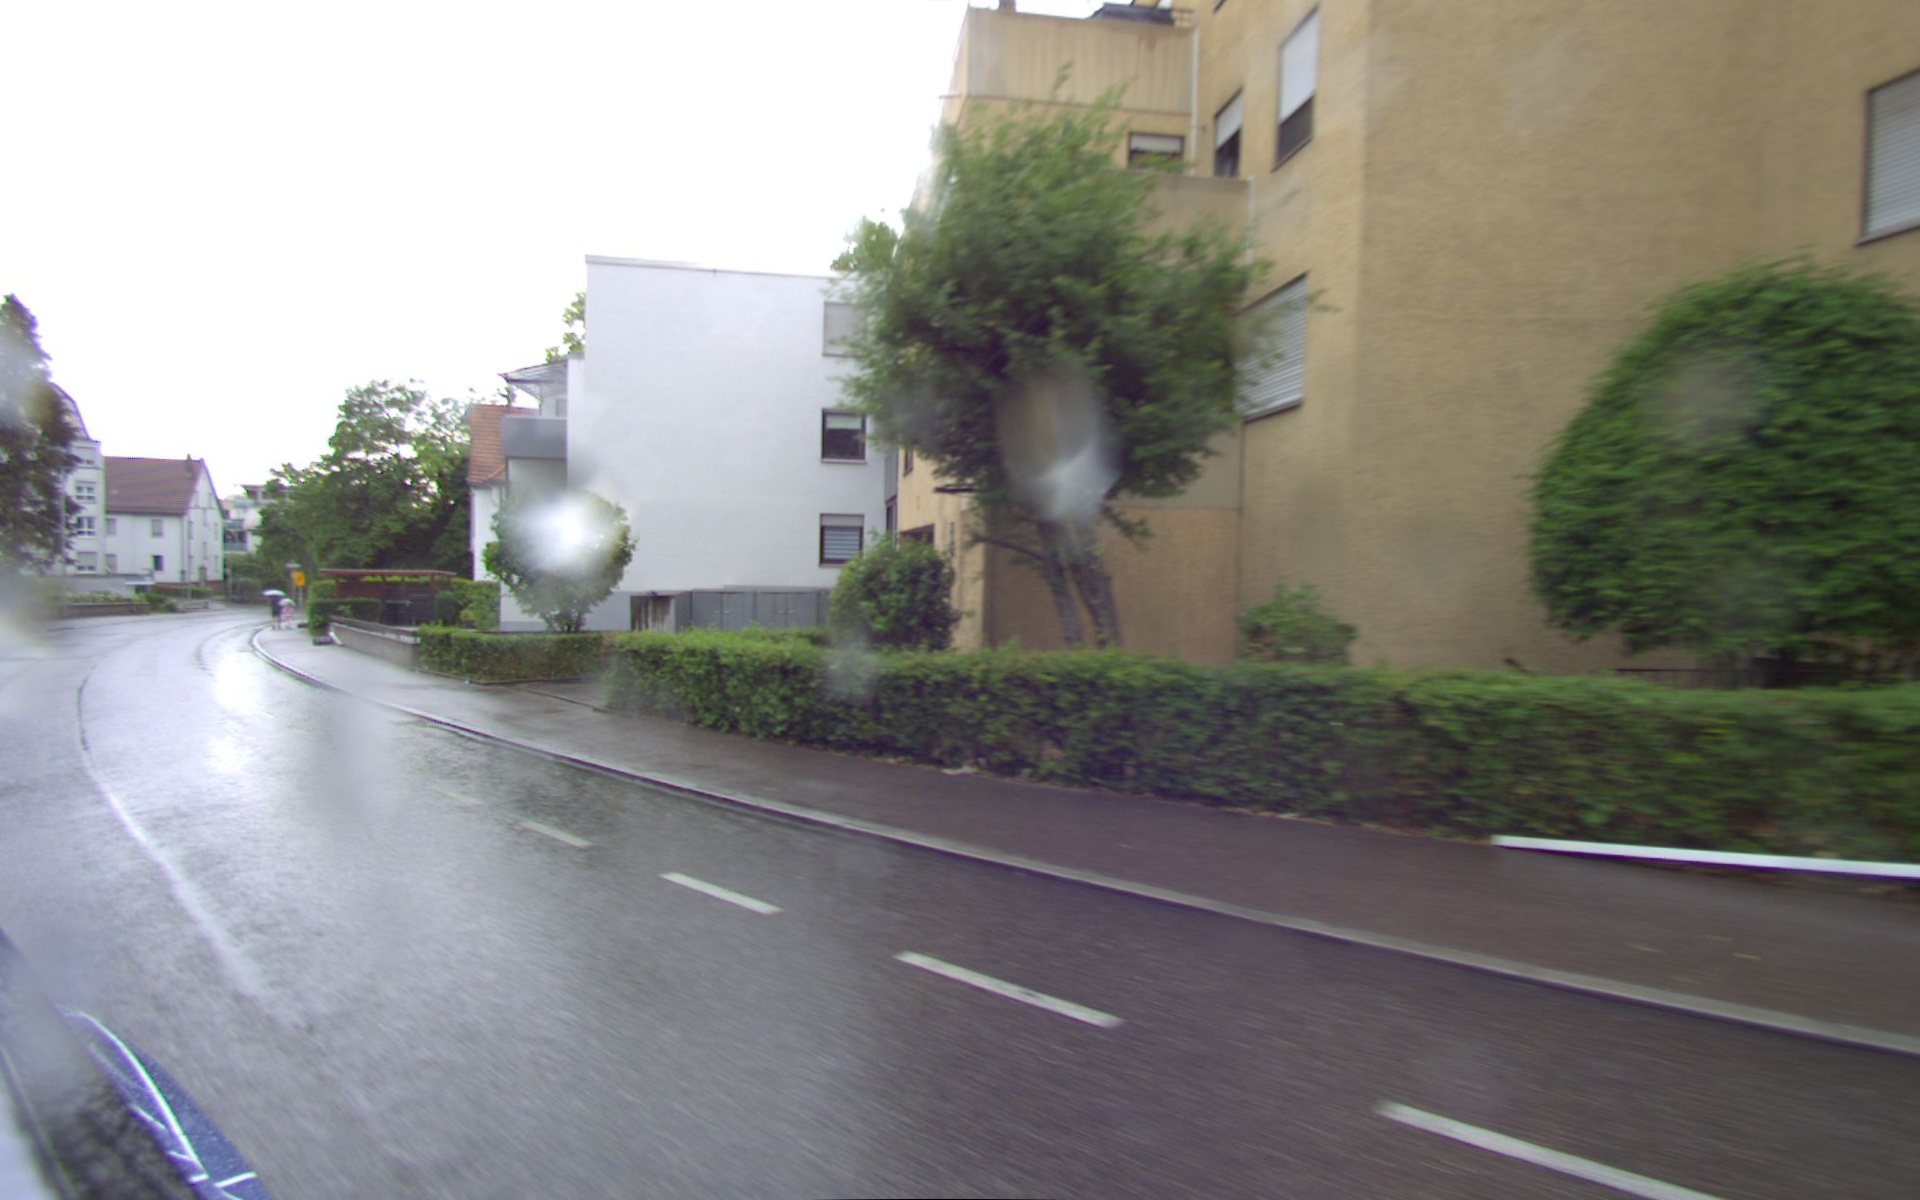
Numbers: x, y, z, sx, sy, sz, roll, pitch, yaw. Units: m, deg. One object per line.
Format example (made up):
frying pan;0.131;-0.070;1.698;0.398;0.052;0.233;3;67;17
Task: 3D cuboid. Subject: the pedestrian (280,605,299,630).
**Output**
pedestrian;-32.117;0.818;48.479;0.745;1.189;1.042;1;0;-32

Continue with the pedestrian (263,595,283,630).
pedestrian;-33.150;0.588;48.849;0.745;1.656;1.042;1;0;-32
